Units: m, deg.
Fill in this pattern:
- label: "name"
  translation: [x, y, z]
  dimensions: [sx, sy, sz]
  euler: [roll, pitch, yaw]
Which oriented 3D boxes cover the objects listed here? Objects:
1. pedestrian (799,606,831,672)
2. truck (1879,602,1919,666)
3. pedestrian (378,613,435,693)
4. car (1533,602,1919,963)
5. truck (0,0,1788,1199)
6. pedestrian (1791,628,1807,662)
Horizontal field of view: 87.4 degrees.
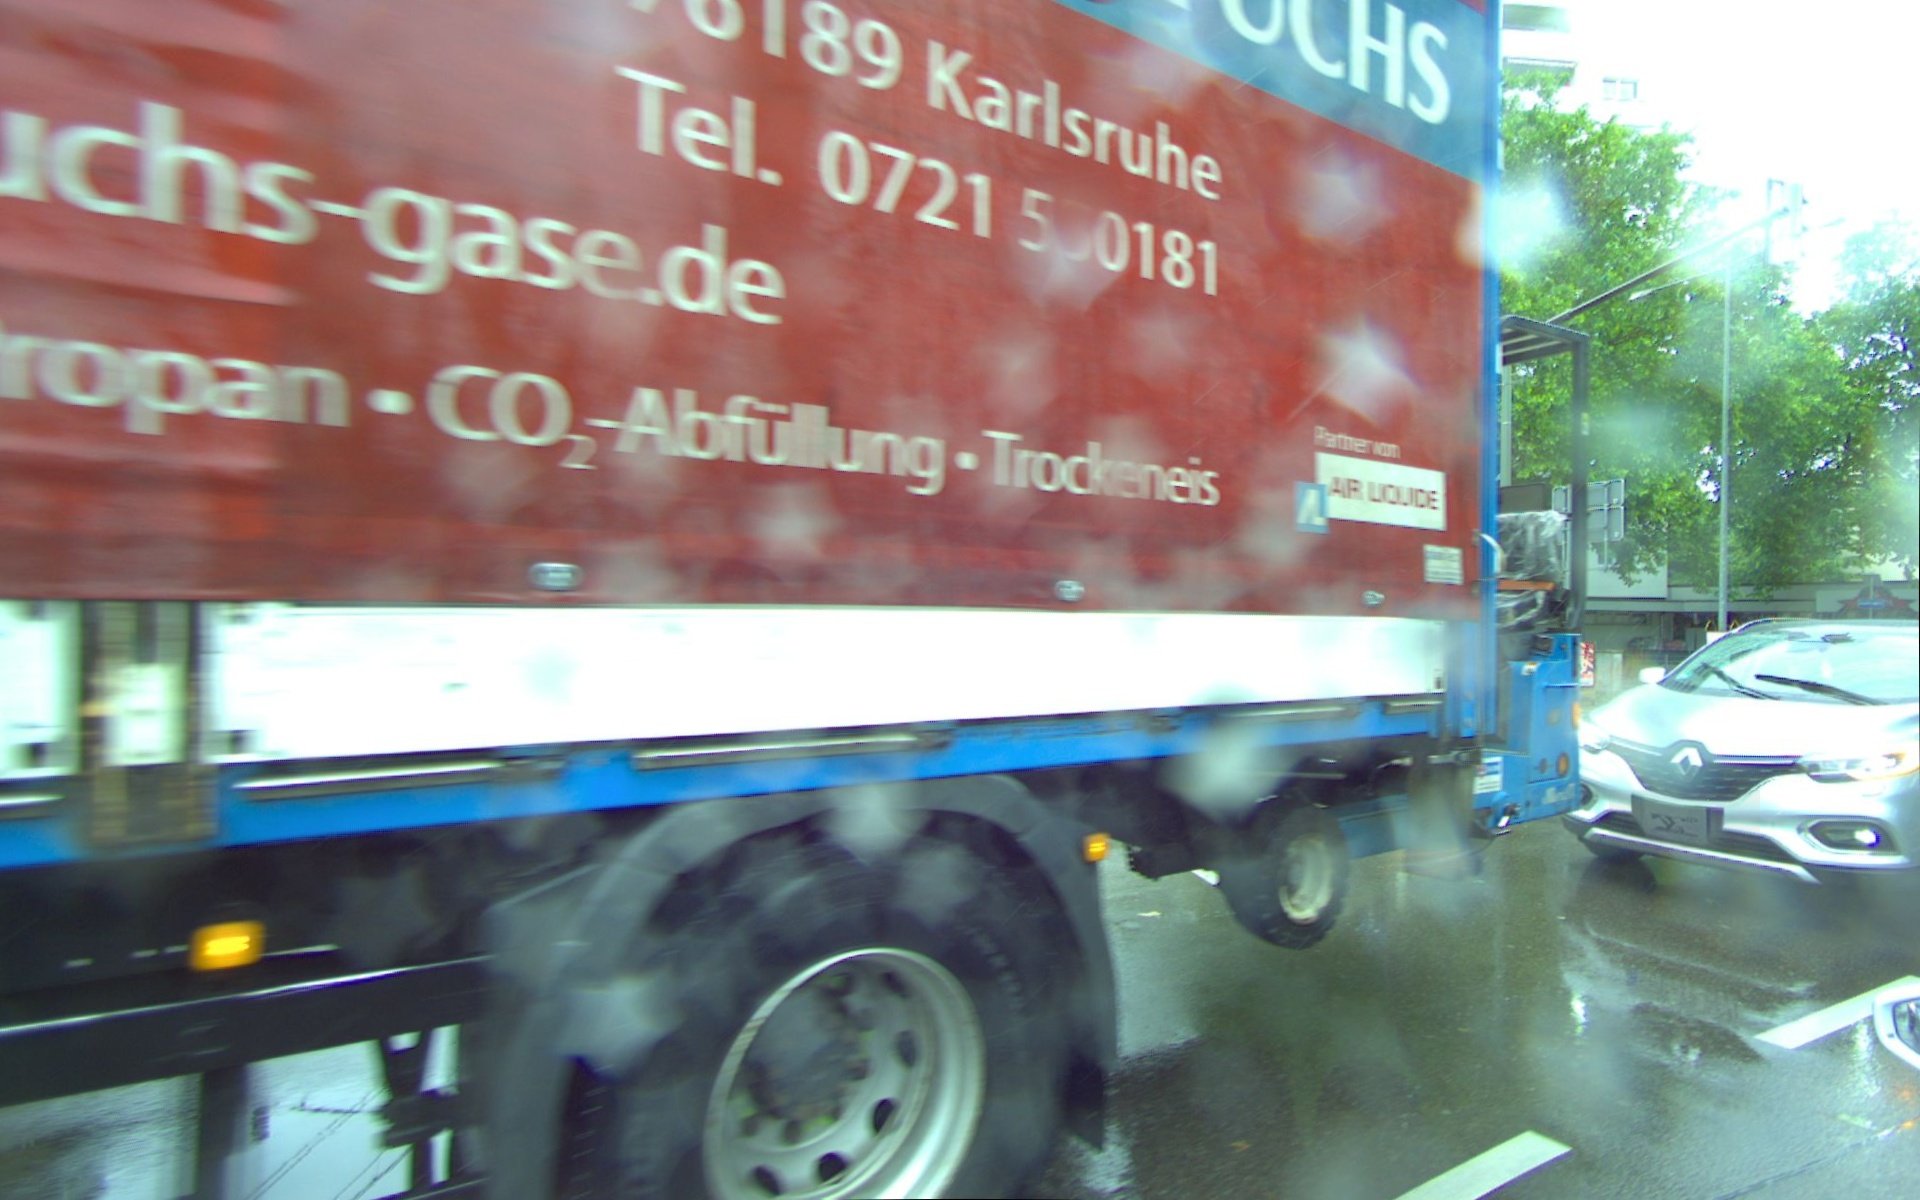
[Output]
- label: "pedestrian"
  translation: [-3.730, 1.015, 25.911]
  dimensions: [0.779, 1.670, 0.816]
  euler: [0, -2, -6]
- label: "truck"
  translation: [57.339, 1.999, 58.234]
  dimensions: [2.146, 3.693, 5.665]
  euler: [2, -2, -25]
- label: "pedestrian"
  translation: [-11.766, 1.125, 21.359]
  dimensions: [0.822, 1.670, 0.755]
  euler: [0, -2, -9]
- label: "car"
  translation: [5.584, 0.881, 6.272]
  dimensions: [3.952, 1.625, 1.735]
  euler: [2, -1, -30]
- label: "truck"
  translation: [-1.883, -0.653, 2.370]
  dimensions: [10.202, 4.078, 2.831]
  euler: [2, -2, -32]
- label: "pedestrian"
  translation: [41.082, 2.207, 49.173]
  dimensions: [0.637, 1.650, 0.563]
  euler: [2, -1, -44]
